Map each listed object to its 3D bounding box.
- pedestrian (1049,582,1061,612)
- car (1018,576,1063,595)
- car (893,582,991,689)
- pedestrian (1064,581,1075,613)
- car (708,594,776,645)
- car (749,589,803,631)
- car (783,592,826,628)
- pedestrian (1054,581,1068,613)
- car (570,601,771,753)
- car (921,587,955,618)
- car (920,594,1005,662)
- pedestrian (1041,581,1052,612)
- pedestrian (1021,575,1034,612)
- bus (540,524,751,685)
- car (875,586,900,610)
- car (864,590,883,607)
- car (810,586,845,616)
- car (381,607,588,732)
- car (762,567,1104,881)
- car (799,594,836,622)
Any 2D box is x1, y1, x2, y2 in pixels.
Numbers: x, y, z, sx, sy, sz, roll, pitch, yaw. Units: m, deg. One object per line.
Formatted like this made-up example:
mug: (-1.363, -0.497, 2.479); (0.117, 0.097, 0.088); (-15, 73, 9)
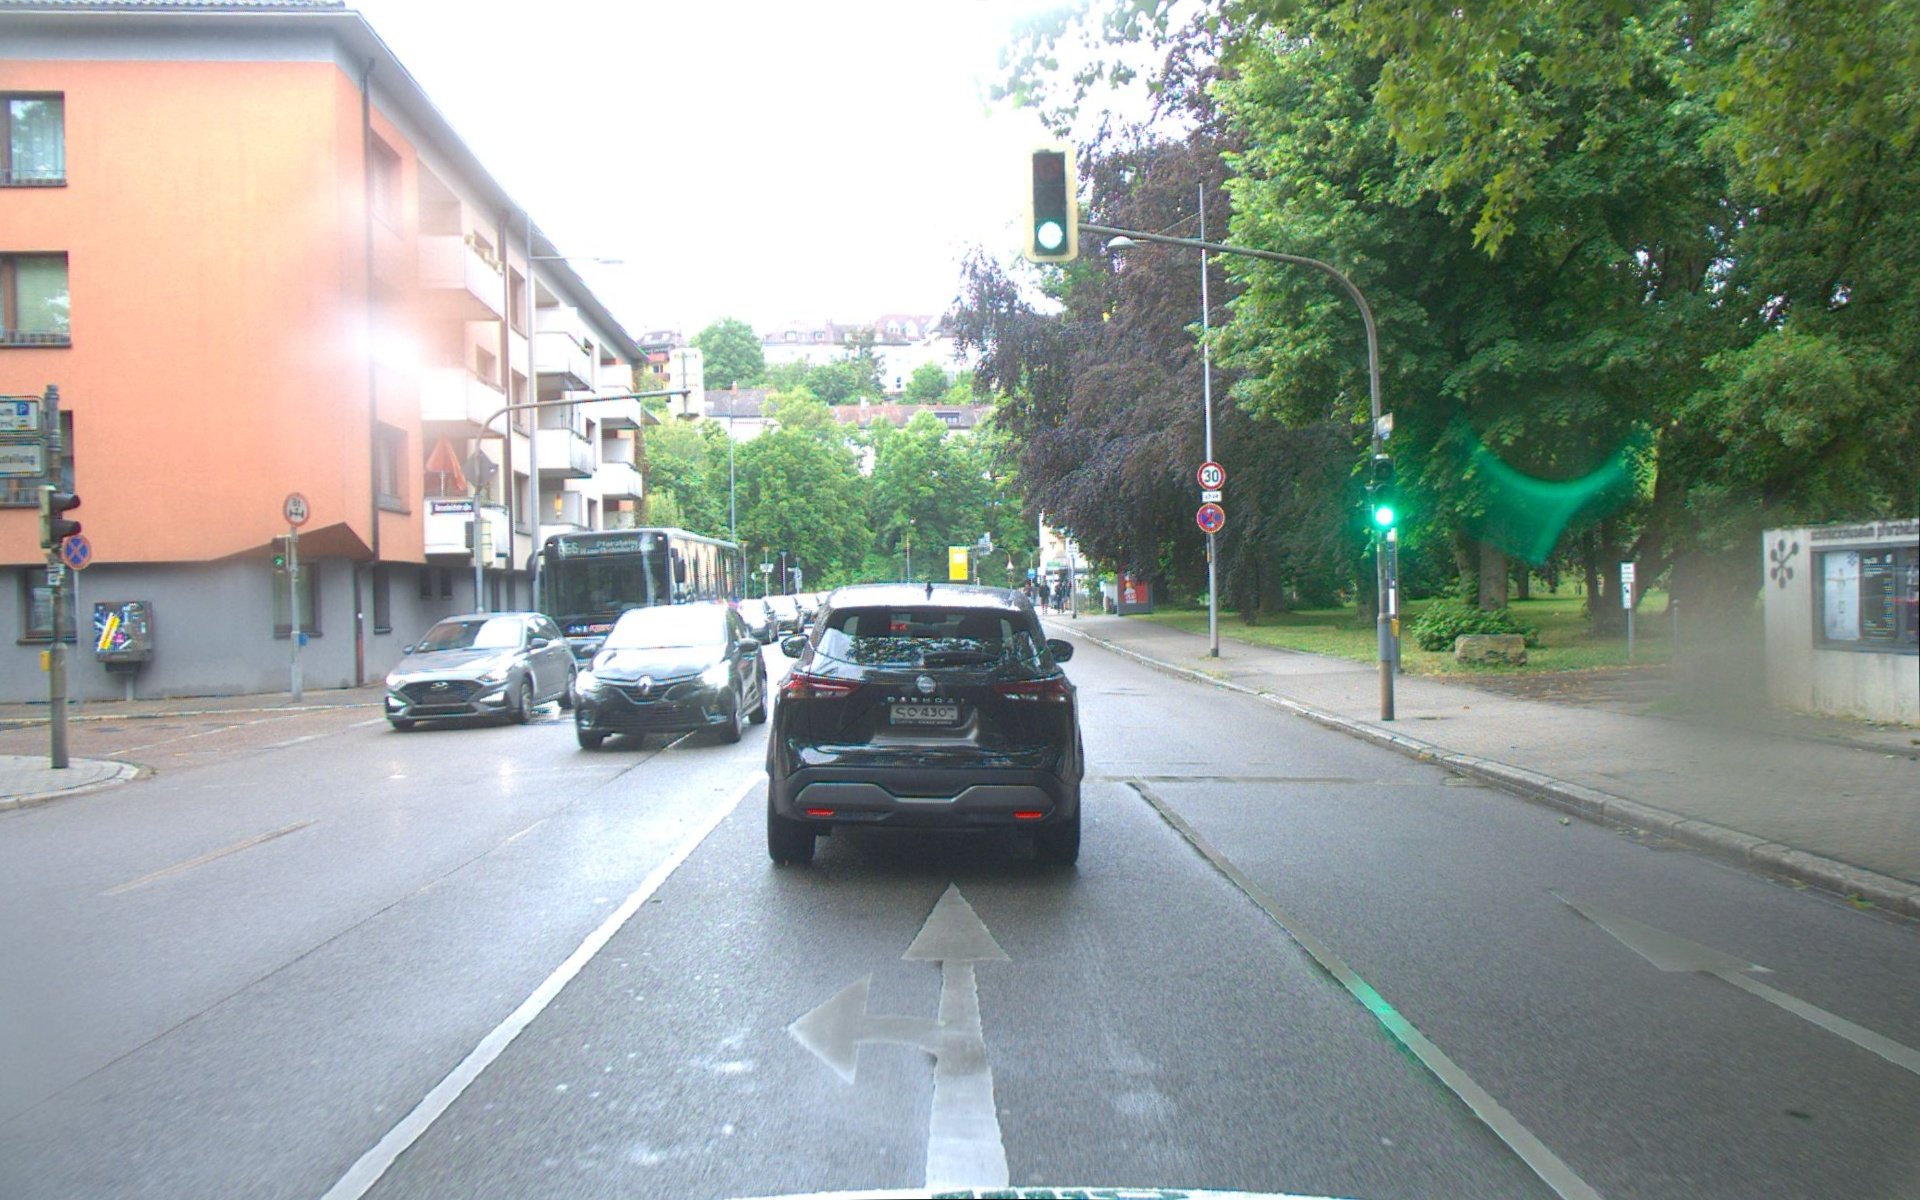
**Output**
pedestrian: (5.728, -0.186, 99.990); (0.606, 1.810, 0.778); (-2, 0, -1)
car: (7.801, -1.386, 160.767); (3.916, 1.713, 1.994); (-2, 0, -12)
car: (-0.291, 0.592, 29.769); (1.588, 1.738, 3.771); (-2, 0, 0)
pedestrian: (5.759, -0.159, 86.749); (0.504, 1.684, 0.550); (1, -1, -1)
car: (-7.053, 0.601, 53.812); (1.740, 1.495, 4.215); (-3, 0, -2)
car: (-7.063, 0.359, 63.839); (1.712, 1.495, 4.215); (-3, 0, -2)
car: (-7.002, 0.424, 74.953); (1.643, 1.495, 4.215); (-3, 0, -2)
pedestrian: (5.396, -0.175, 88.527); (0.685, 1.680, 0.628); (1, -1, -1)
car: (-3.090, 0.770, 18.256); (1.591, 1.439, 3.454); (-2, 0, -1)
car: (-1.054, 0.112, 79.794); (1.591, 1.439, 3.454); (-2, 0, -1)
car: (0.001, 0.598, 37.732); (1.772, 1.442, 4.029); (0, 0, -2)
pedestrian: (4.634, -0.188, 88.313); (0.533, 1.680, 0.490); (1, -1, -1)
pedestrian: (4.051, -0.391, 99.214); (0.752, 2.222, 0.711); (1, -1, 2)
bus: (-6.818, 0.088, 37.842); (2.710, 3.026, 11.778); (-2, 0, -1)
car: (-5.565, -0.154, 127.232); (1.728, 1.788, 3.634); (-2, 0, -1)
car: (-8.144, -0.155, 156.269); (1.684, 1.494, 3.683); (-2, 0, -3)
car: (-7.708, 0.056, 96.634); (1.714, 1.662, 3.634); (-2, 0, -1)
car: (-6.455, 0.886, 22.914); (1.772, 1.441, 4.029); (-3, 0, -2)
car: (-0.178, 0.665, 10.660); (1.769, 1.618, 3.999); (1, 0, -1)
car: (-7.258, 0.400, 84.439); (1.643, 1.318, 3.750); (-3, 0, -2)
